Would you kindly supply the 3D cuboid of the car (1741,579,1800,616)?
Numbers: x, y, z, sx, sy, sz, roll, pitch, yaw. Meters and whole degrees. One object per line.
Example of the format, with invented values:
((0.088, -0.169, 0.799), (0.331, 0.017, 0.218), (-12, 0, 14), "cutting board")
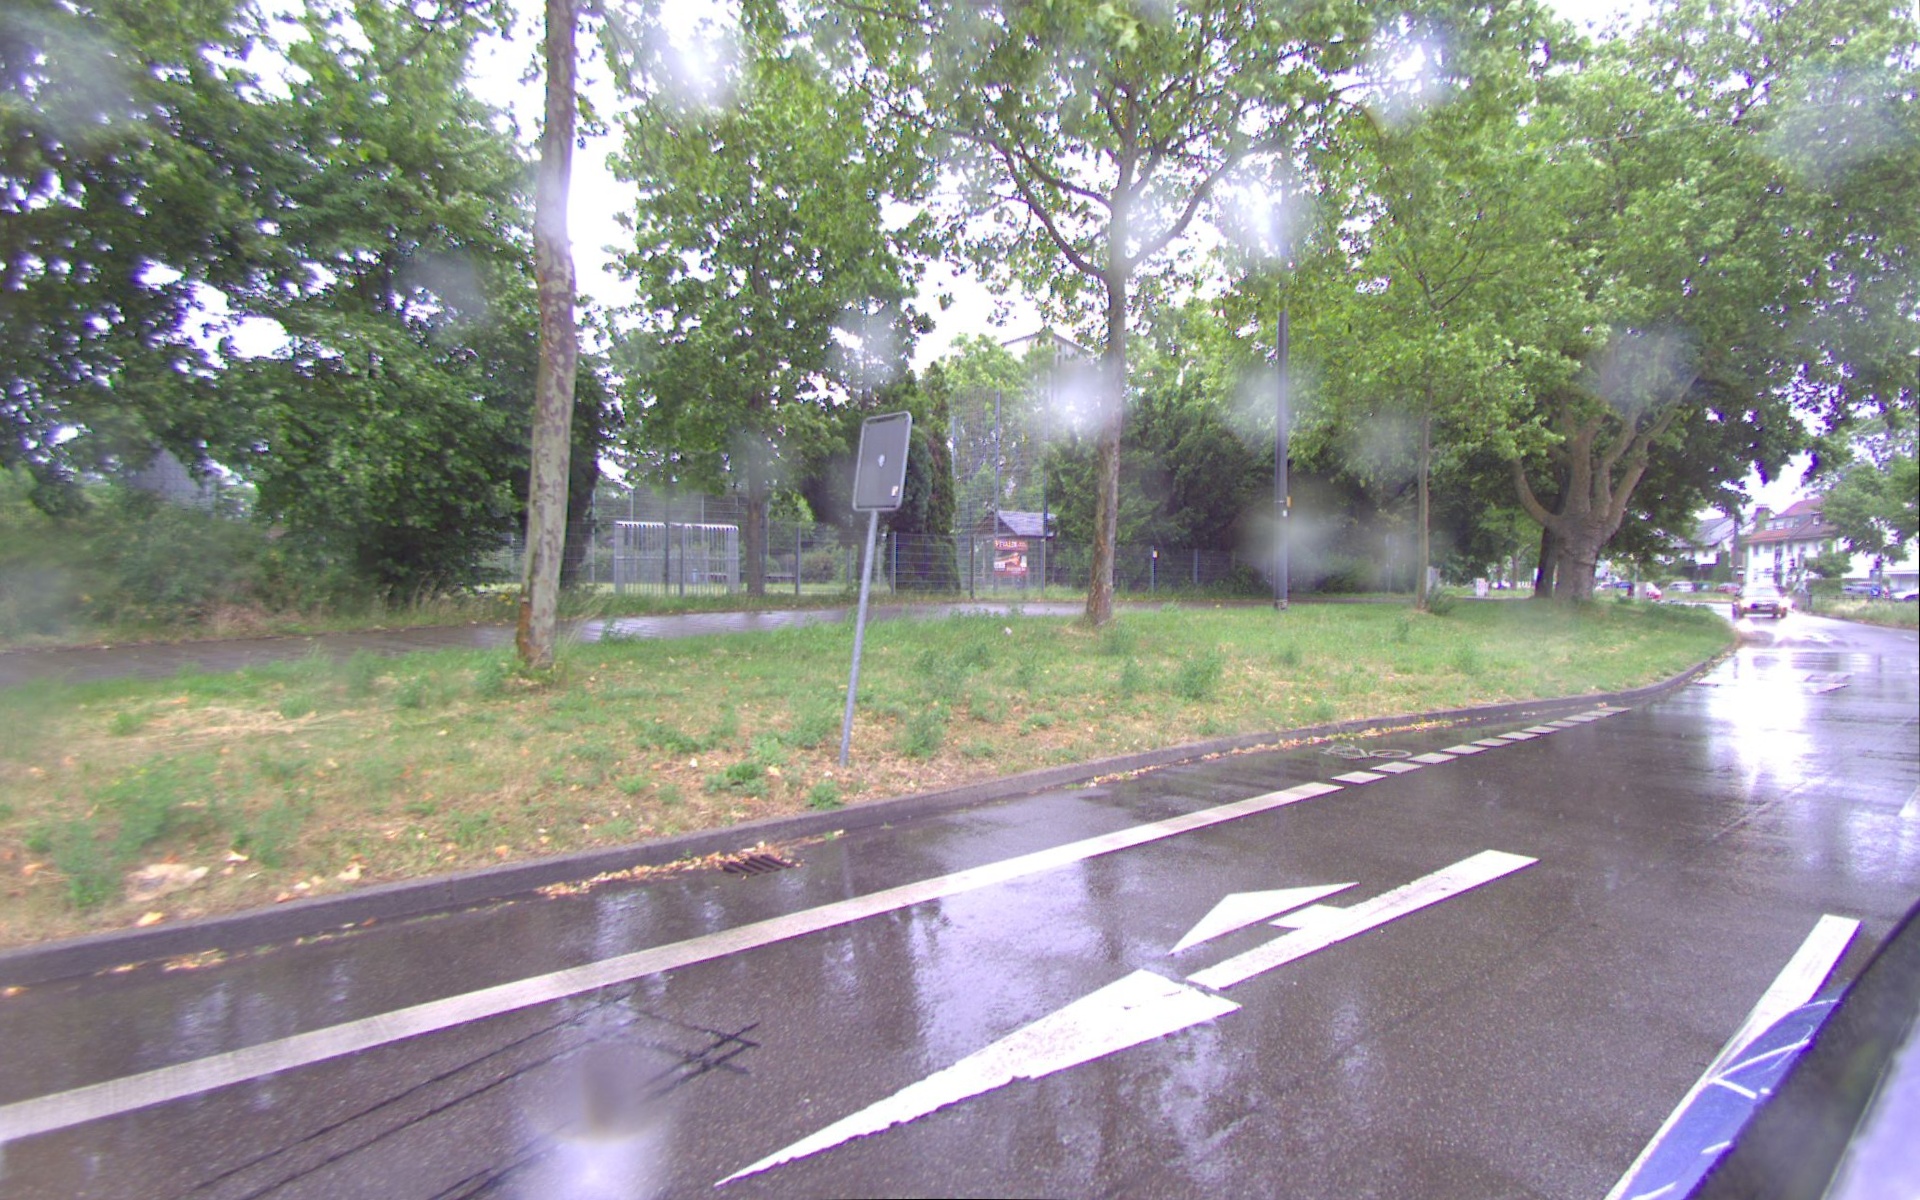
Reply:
((37.683, -0.146, 47.124), (1.861, 1.638, 3.761), (0, 1, 35), "car")

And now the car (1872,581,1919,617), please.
((39.341, -0.055, 40.543), (4.025, 1.438, 1.652), (0, 1, 39), "car")

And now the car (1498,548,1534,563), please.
((74.092, -5.947, 134.881), (3.958, 1.850, 1.983), (0, 0, 25), "car")

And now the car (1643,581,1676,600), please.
((55.093, -0.761, 79.735), (1.773, 1.398, 3.825), (0, 1, 29), "car")
